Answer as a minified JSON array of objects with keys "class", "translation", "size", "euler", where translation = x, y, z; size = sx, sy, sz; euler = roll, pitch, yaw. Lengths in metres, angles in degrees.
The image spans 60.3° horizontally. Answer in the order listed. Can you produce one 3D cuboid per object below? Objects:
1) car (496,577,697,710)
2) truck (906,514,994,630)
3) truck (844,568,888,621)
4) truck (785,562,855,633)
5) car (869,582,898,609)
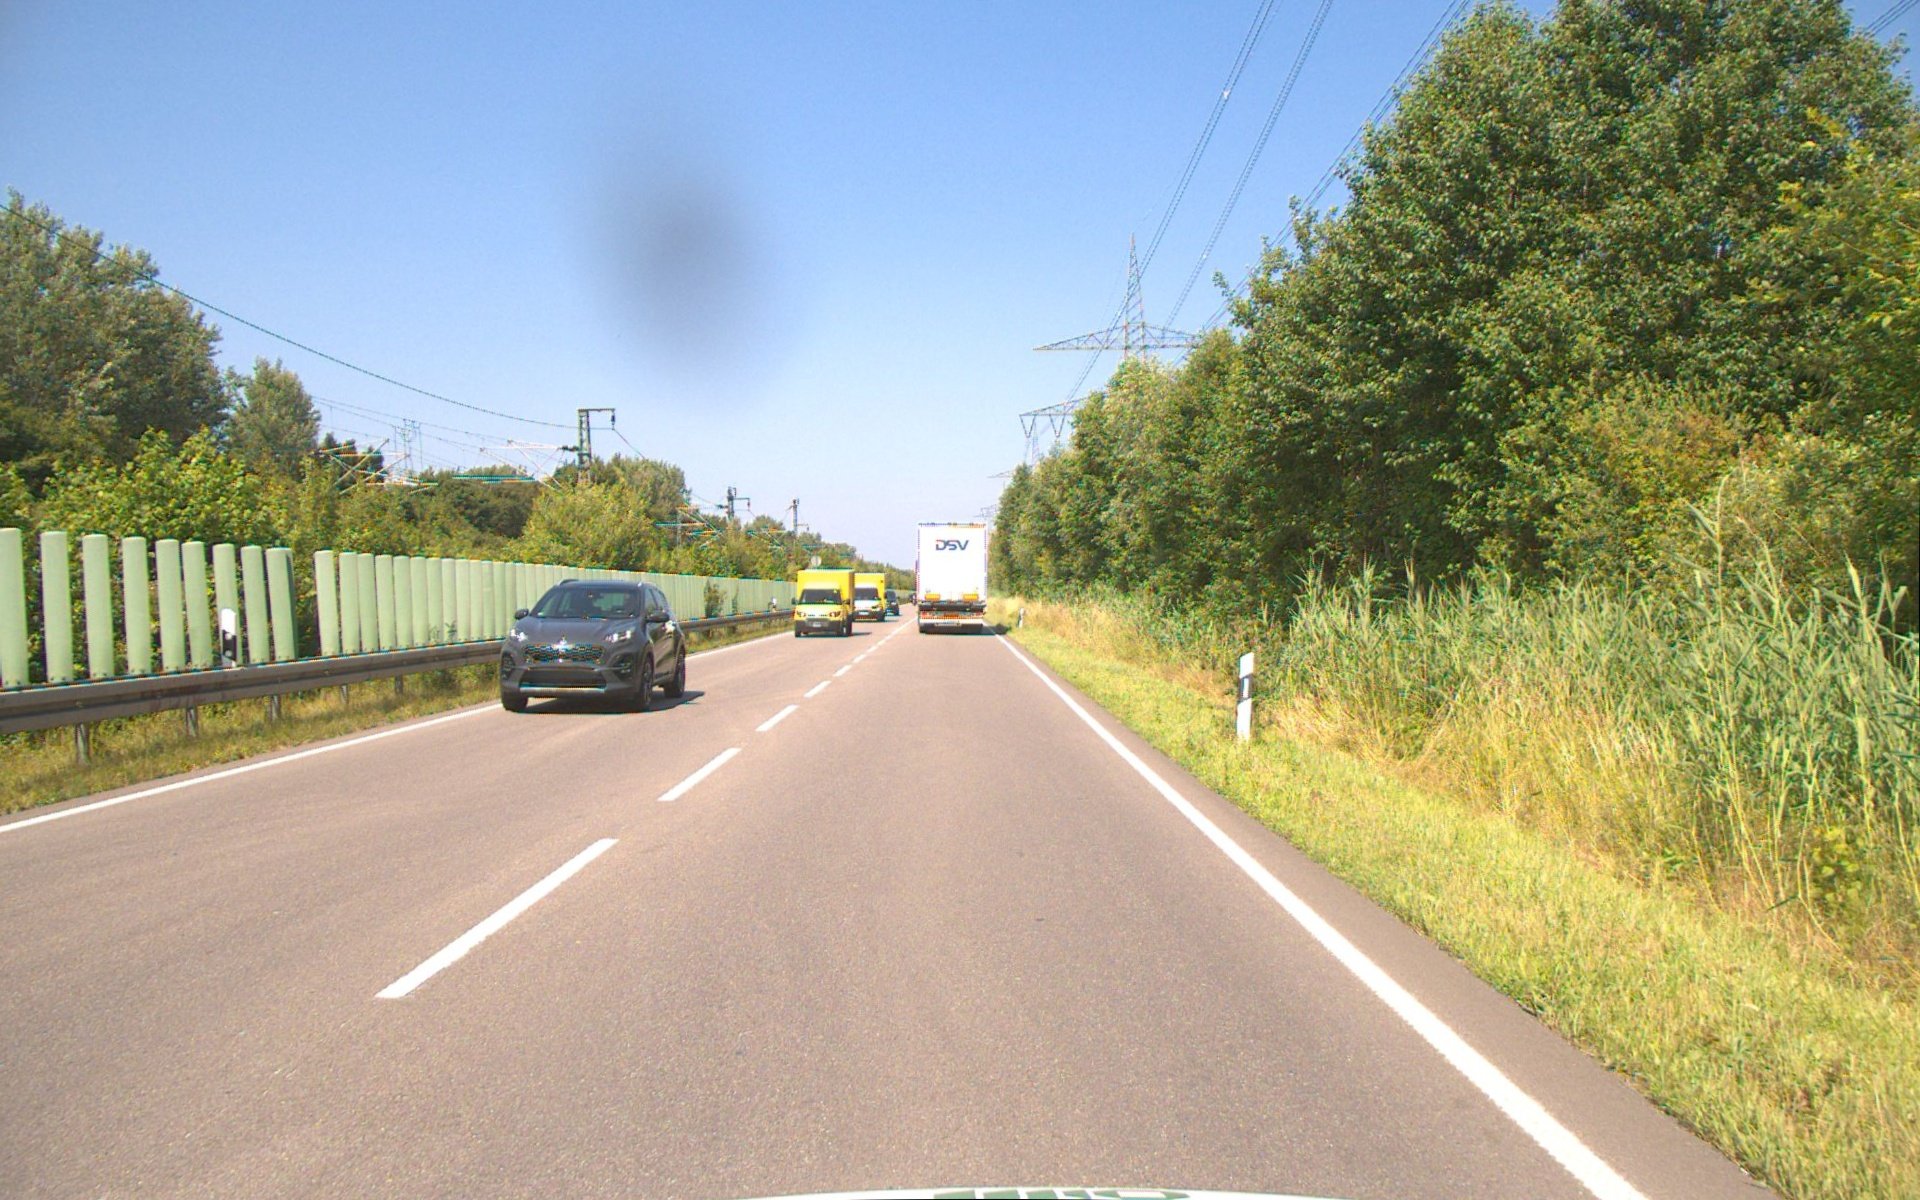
[{"class":"car","translation":[-4.799,0.524,22.435],"size":[1.764,1.615,4.370],"euler":[0,0,0]},{"class":"truck","translation":[-0.463,-1.020,65.090],"size":[3.127,4.113,12.004],"euler":[0,0,-1]},{"class":"truck","translation":[-4.894,-0.282,86.963],"size":[2.038,2.693,5.703],"euler":[0,0,-1]},{"class":"truck","translation":[-4.850,-0.097,58.236],"size":[1.953,2.389,6.011],"euler":[0,0,0]},{"class":"car","translation":[-5.168,-0.312,111.821],"size":[1.777,1.723,4.705],"euler":[0,0,0]}]
